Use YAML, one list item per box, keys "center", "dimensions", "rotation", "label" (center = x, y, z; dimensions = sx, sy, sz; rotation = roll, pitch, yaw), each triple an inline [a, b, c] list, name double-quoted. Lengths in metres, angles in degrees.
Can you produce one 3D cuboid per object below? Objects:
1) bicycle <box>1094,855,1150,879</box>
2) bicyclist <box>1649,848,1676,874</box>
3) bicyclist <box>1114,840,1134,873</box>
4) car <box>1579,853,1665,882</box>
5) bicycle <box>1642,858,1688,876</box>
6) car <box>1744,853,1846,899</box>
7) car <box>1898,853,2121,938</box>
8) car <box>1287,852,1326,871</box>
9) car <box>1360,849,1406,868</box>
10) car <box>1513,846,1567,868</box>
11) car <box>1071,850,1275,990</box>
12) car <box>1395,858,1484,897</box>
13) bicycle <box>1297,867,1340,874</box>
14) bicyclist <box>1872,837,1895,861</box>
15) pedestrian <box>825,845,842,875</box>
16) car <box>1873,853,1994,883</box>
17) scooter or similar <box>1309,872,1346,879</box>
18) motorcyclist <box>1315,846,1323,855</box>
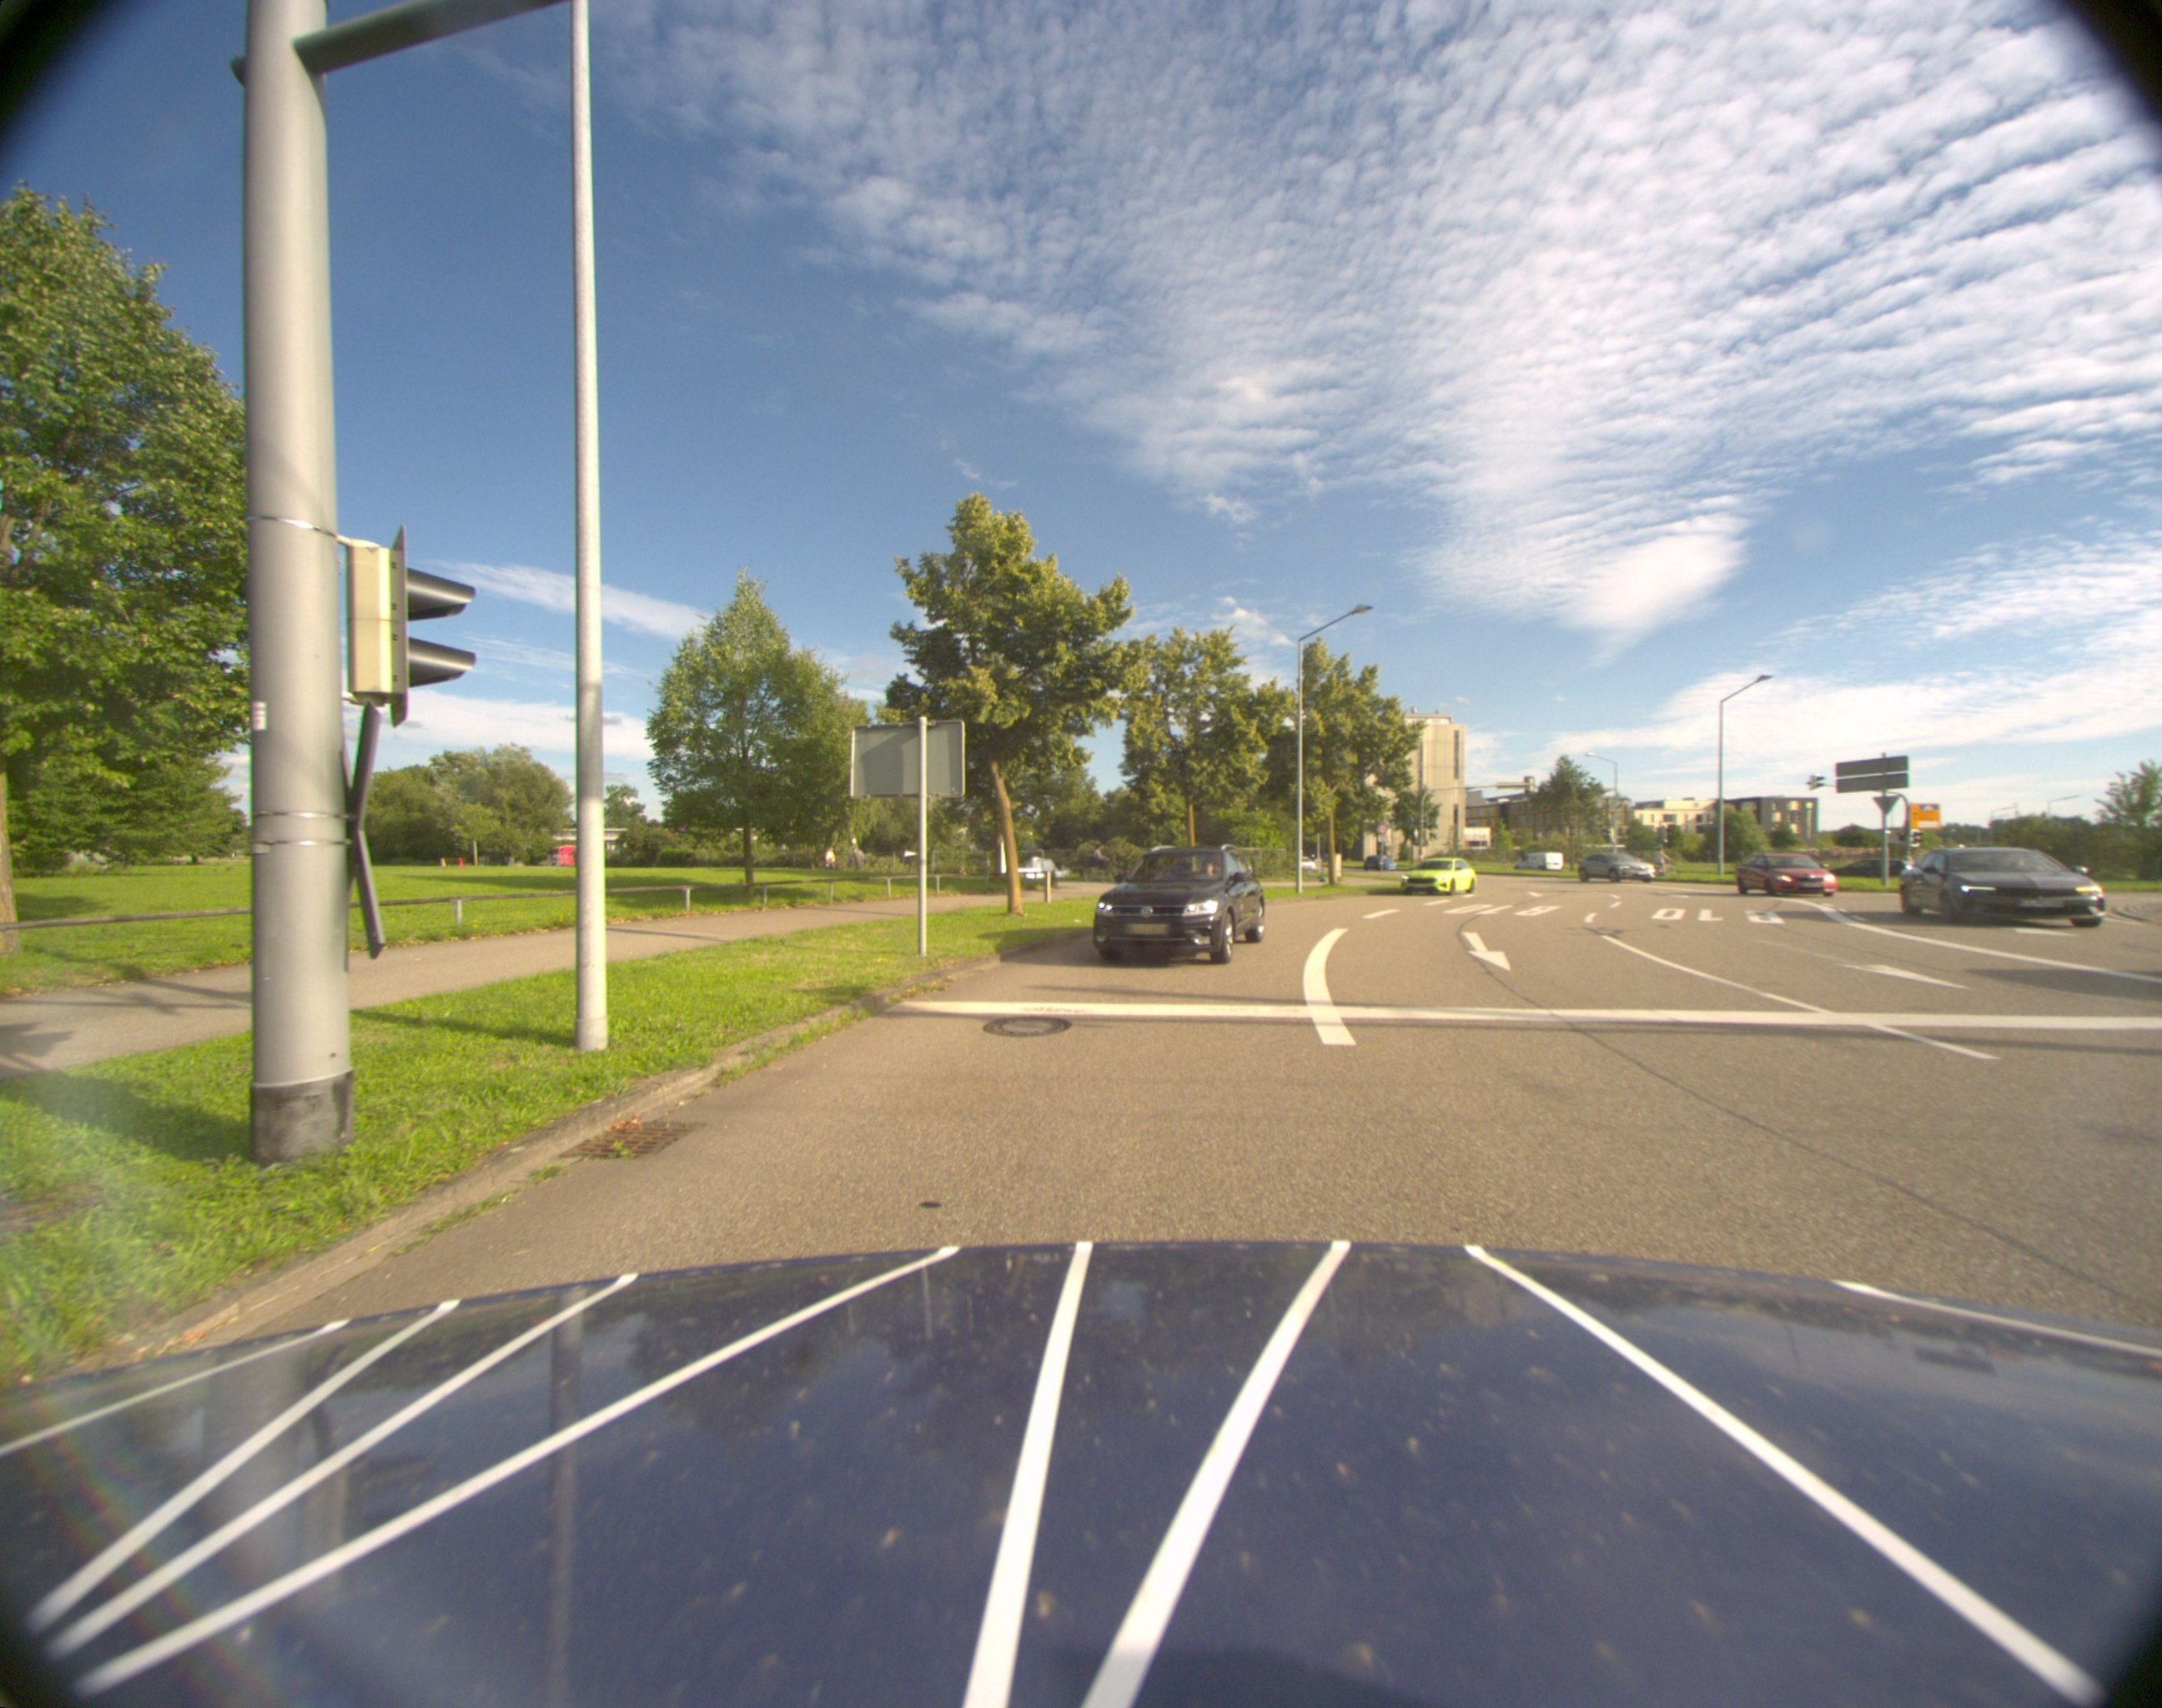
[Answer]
- center: [1.948, 0.617, 36.068]
  dimensions: [2.598, 1.119, 0.804]
  rotation: [0, 1, 6]
  label: "bicycle"
- center: [34.610, 0.393, 45.226]
  dimensions: [0.865, 1.547, 0.997]
  rotation: [0, 1, 1]
  label: "bicyclist"
- center: [2.027, 0.102, 36.038]
  dimensions: [0.904, 1.538, 0.804]
  rotation: [0, 1, 6]
  label: "bicyclist"
- center: [29.015, 0.714, 40.902]
  dimensions: [1.693, 1.466, 4.228]
  rotation: [0, -1, 2]
  label: "car"
- center: [34.739, 0.776, 45.242]
  dimensions: [1.960, 1.001, 1.002]
  rotation: [0, 1, 0]
  label: "bicycle"
- center: [24.617, 0.718, 26.350]
  dimensions: [1.690, 1.466, 4.236]
  rotation: [-1, -1, 31]
  label: "car"
- center: [18.006, 0.695, 15.019]
  dimensions: [1.819, 1.412, 4.456]
  rotation: [0, 0, 37]
  label: "car"
- center: [21.926, 0.704, 74.145]
  dimensions: [1.999, 1.652, 4.800]
  rotation: [0, 1, -5]
  label: "car"
- center: [28.337, 0.387, 71.528]
  dimensions: [2.000, 1.652, 4.799]
  rotation: [0, 1, -6]
  label: "car"
- center: [40.923, 0.245, 67.891]
  dimensions: [1.685, 1.814, 4.559]
  rotation: [2, 0, -6]
  label: "car"
- center: [1.713, 0.798, 12.012]
  dimensions: [1.868, 1.685, 5.023]
  rotation: [0, 1, 23]
  label: "car"
- center: [14.187, 0.889, 29.956]
  dimensions: [1.892, 1.412, 4.618]
  rotation: [-1, -1, 42]
  label: "car"
- center: [14.222, 1.014, 45.602]
  dimensions: [1.092, 0.344, 2.245]
  rotation: [-1, -2, -38]
  label: "bicycle"
- center: [48.253, -0.320, 45.705]
  dimensions: [0.697, 1.437, 0.611]
  rotation: [1, 1, 7]
  label: "bicyclist"
- center: [-14.161, 0.331, 43.465]
  dimensions: [0.596, 1.722, 0.668]
  rotation: [0, 1, 20]
  label: "pedestrian"
- center: [46.172, 0.742, 41.245]
  dimensions: [1.687, 1.492, 3.987]
  rotation: [2, 0, -20]
  label: "car"
- center: [13.848, 1.201, 42.667]
  dimensions: [1.556, 0.279, 1.290]
  rotation: [0, 0, -28]
  label: "scooter or similar"
- center: [33.912, -0.503, 108.136]
  dimensions: [0.784, 1.358, 0.943]
  rotation: [0, 1, -5]
  label: "motorcyclist"
